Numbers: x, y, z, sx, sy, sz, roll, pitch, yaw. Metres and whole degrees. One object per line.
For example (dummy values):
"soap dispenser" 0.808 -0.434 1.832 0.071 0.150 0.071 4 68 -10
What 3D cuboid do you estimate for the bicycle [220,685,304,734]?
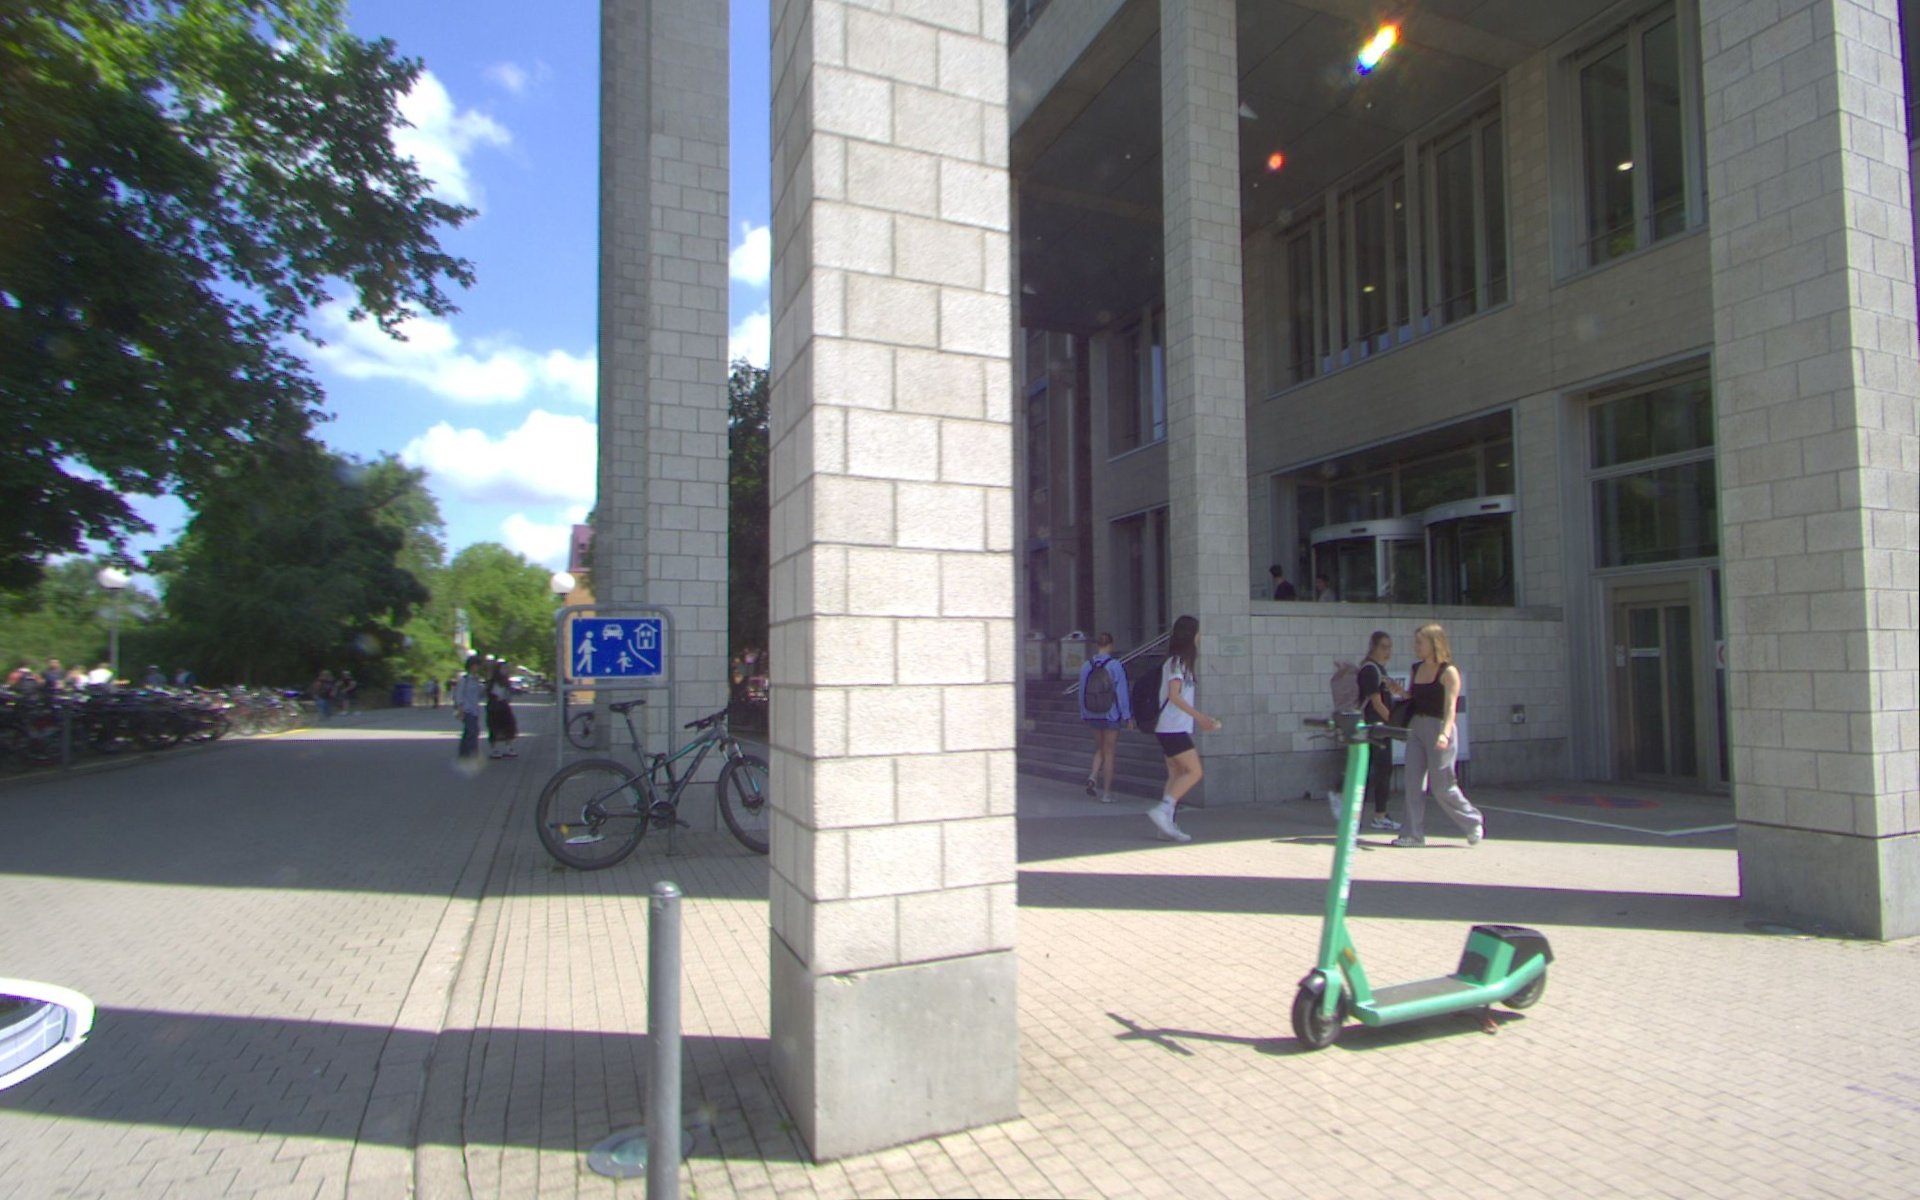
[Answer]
"bicycle" -17.454 2.735 25.077 1.679 1.182 0.471 4 -6 -35

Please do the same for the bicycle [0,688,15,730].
"bicycle" -26.752 2.980 27.467 1.748 1.123 0.473 -2 -5 22

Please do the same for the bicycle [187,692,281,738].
"bicycle" -16.914 2.661 23.368 0.467 1.030 1.692 -3 -6 33

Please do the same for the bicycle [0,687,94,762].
"bicycle" -14.433 1.894 15.306 0.492 1.121 1.726 -4 -7 44

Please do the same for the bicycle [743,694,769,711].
"bicycle" -13.962 6.996 68.551 1.670 1.123 0.474 3 -5 -19

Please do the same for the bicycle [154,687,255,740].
"bicycle" -16.657 2.492 22.118 0.469 1.121 1.688 -4 -6 40

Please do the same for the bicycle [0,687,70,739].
"bicycle" -20.037 2.414 21.444 1.667 1.096 0.474 -1 -5 9

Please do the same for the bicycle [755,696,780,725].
"bicycle" -6.317 3.611 32.790 0.287 0.916 1.612 2 -5 -30

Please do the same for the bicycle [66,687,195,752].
"bicycle" -14.809 2.125 17.932 1.677 1.121 0.494 4 -6 -33

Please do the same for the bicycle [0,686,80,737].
"bicycle" -20.312 2.437 21.991 1.667 1.096 0.474 -1 -5 9

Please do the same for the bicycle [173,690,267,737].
"bicycle" -17.384 2.657 23.556 0.467 1.074 1.692 -3 -6 33

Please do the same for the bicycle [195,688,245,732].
"bicycle" -19.263 2.859 26.102 0.500 1.096 1.698 2 -5 -19

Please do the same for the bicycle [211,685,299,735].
"bicycle" -17.278 2.684 24.566 1.681 1.182 0.471 4 -6 -39

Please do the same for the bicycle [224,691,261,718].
"bicycle" -28.544 4.136 39.830 1.673 1.059 0.473 -2 -5 27

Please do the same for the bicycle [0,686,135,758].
"bicycle" -14.519 1.957 16.190 1.719 1.121 0.494 4 -6 -35

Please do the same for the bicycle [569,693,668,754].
"bicycle" -6.419 2.305 18.843 1.718 1.052 0.448 1 -3 -27

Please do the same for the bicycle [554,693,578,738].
"bicycle" -9.880 2.867 25.070 0.530 1.051 1.855 1 -5 -22

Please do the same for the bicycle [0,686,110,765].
"bicycle" -13.824 1.846 14.857 1.715 1.139 0.495 3 -5 -27

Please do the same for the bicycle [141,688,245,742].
"bicycle" -16.387 2.455 21.441 1.678 1.121 0.579 4 -6 -33

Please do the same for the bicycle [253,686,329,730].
"bicycle" -18.455 2.981 27.668 1.676 1.172 0.472 3 -5 -31

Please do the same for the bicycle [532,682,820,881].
"bicycle" -1.974 1.203 7.028 1.858 1.178 0.603 0 -3 -27

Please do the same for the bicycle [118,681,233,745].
"bicycle" -15.449 2.223 19.776 1.676 1.212 0.534 3 -5 -30

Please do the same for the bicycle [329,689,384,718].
"bicycle" -24.349 4.179 40.451 0.468 1.123 1.836 -3 -6 34

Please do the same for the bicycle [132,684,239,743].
"bicycle" -16.183 2.364 20.960 1.678 1.201 0.471 4 -6 -33

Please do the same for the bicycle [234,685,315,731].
"bicycle" -18.107 2.841 26.490 1.675 1.182 0.472 3 -5 -28

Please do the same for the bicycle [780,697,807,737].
"bicycle" -4.061 2.839 24.371 0.287 0.916 1.444 1 -5 -25

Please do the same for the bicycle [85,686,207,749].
"bicycle" -15.250 2.193 18.809 1.678 1.121 0.471 4 -6 -34

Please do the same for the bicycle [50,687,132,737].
"bicycle" -19.800 2.540 22.816 1.668 1.096 0.474 -1 -5 13

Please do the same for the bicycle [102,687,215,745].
"bicycle" -16.242 2.347 20.339 1.678 1.121 0.563 4 -6 -33

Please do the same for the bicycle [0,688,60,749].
"bicycle" -17.814 2.179 18.477 1.678 1.121 0.500 4 -6 -33

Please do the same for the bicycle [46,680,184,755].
"bicycle" -14.693 2.035 17.468 1.716 1.250 0.495 3 -5 -30

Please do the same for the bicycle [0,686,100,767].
"bicycle" -13.514 1.802 14.317 1.712 1.121 0.496 2 -5 -22

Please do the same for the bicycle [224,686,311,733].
"bicycle" -17.769 2.800 25.711 1.748 1.182 0.474 1 -5 -9

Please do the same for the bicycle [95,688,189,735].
"bicycle" -19.352 2.639 23.712 1.667 1.096 0.474 1 -5 -9

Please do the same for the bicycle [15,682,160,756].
"bicycle" -14.664 1.995 16.876 1.713 1.192 0.496 2 -5 -23

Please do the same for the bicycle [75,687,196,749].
"bicycle" -15.635 2.231 19.050 1.678 1.121 0.471 4 -6 -33

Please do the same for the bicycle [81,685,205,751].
"bicycle" -14.988 2.159 18.424 1.678 1.159 0.471 4 -6 -34

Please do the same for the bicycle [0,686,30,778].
"bicycle" -12.629 1.628 12.382 1.599 1.121 0.497 1 -5 -8

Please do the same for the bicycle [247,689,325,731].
"bicycle" -18.304 2.985 27.223 1.675 1.104 0.472 3 -5 -28

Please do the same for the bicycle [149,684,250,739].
"bicycle" -17.005 2.485 22.422 0.469 1.171 1.688 -4 -6 40

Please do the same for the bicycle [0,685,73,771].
"bicycle" -13.159 1.718 13.525 1.707 1.121 0.575 1 -5 -3

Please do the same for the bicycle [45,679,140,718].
"bicycle" -24.081 2.743 27.851 1.884 1.059 0.539 4 -6 -34

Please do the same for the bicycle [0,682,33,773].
"bicycle" -13.044 1.634 12.871 1.599 1.157 0.497 1 -5 -8

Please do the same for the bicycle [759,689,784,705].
"bicycle" -13.913 7.191 73.954 1.786 1.123 0.472 4 -5 -28

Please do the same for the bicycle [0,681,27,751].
"bicycle" -17.516 2.025 17.466 1.678 1.234 0.500 4 -6 -33

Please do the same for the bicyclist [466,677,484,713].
"bicyclist" -23.867 4.695 49.266 0.762 1.735 0.909 1 -5 -25
